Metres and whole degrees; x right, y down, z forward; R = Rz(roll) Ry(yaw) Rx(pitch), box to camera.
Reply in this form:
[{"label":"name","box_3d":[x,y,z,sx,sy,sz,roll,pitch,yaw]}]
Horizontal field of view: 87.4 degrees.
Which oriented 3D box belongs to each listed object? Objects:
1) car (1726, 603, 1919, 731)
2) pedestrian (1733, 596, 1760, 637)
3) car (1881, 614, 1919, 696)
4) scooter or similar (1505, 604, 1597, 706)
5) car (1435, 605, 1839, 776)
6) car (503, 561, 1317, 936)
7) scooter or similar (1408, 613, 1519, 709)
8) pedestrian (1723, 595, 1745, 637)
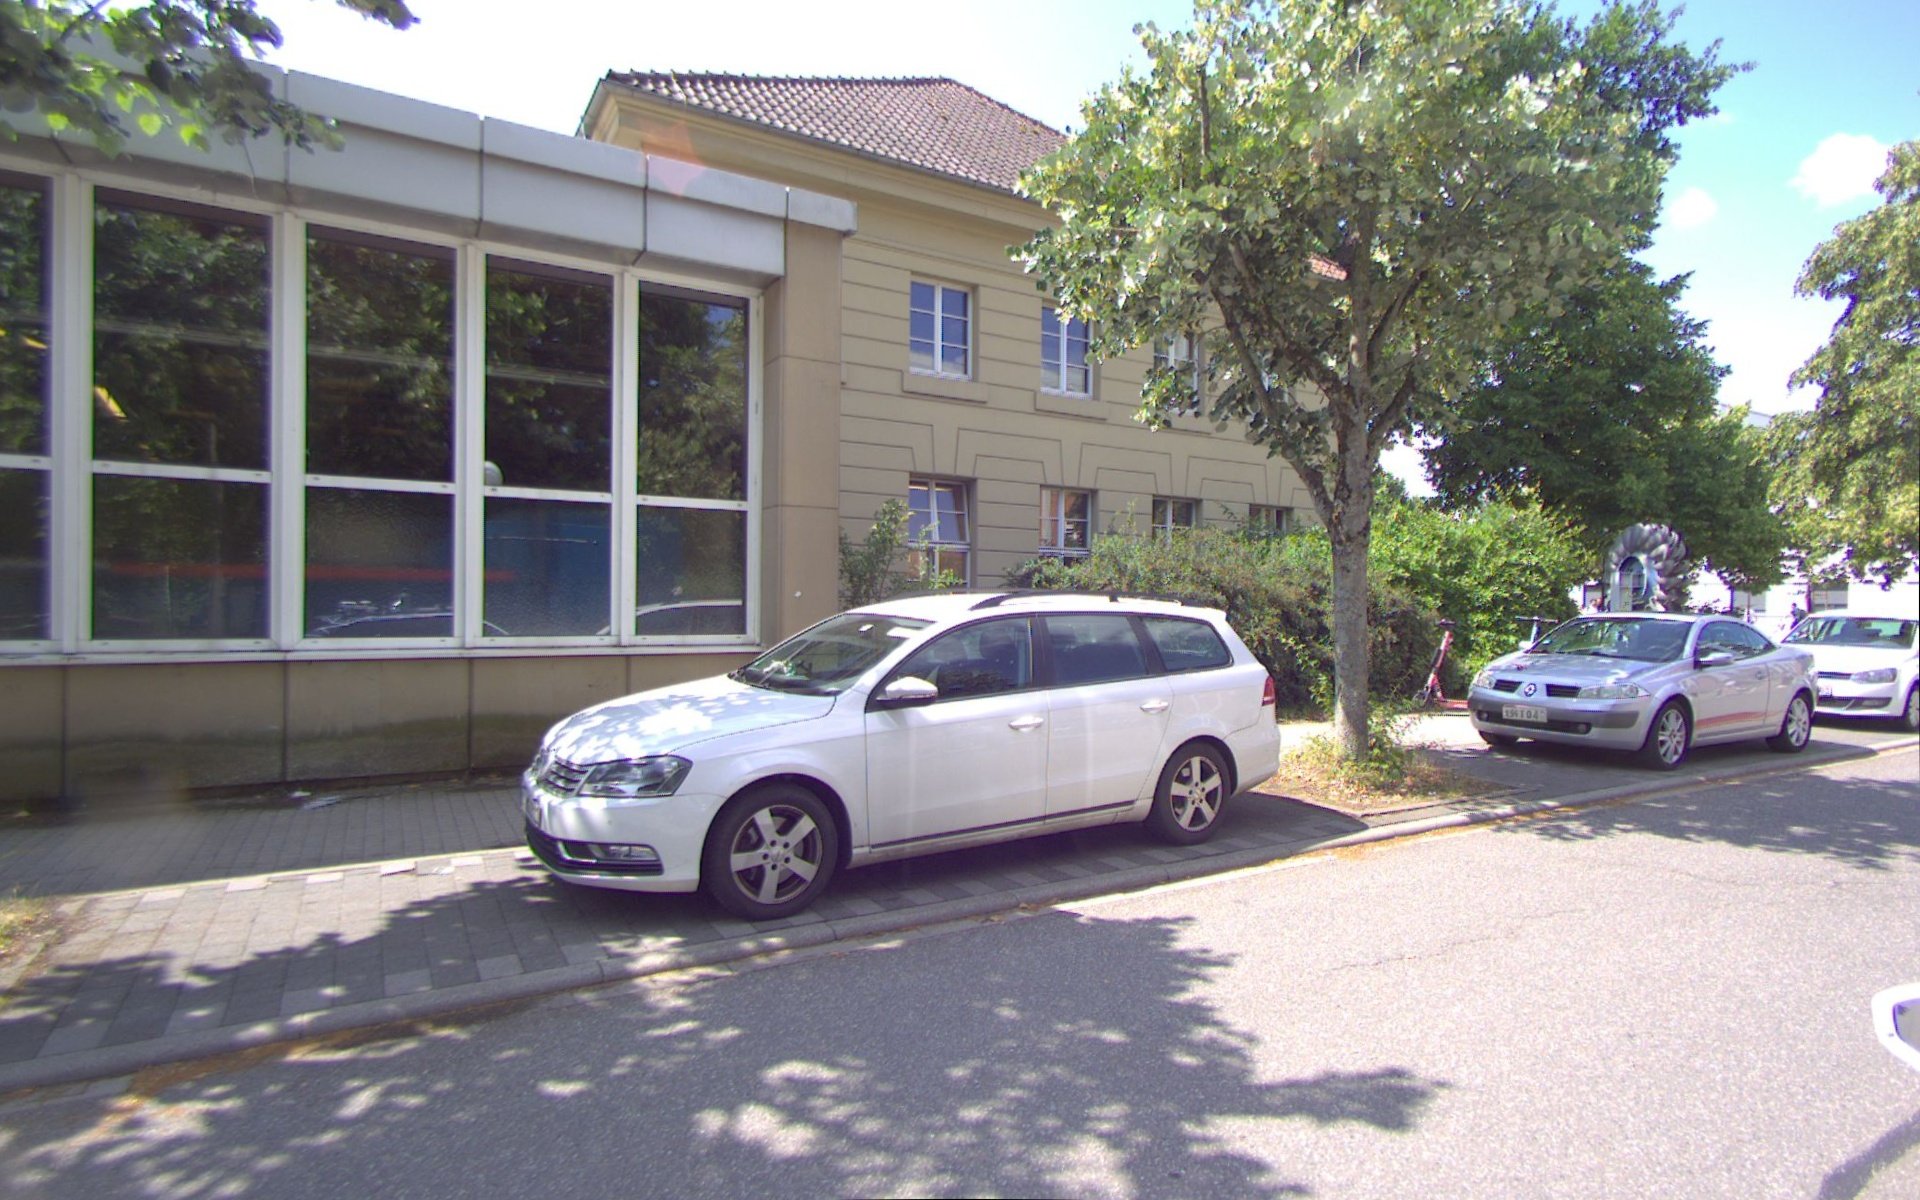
[{"label":"car","box_3d":[11.959,0.784,13.267,3.763,1.431,1.653,0,2,-31]},{"label":"pedestrian","box_3d":[34.461,0.733,44.011,0.629,1.772,0.690,1,1,-30]},{"label":"car","box_3d":[17.195,0.893,16.745,3.881,1.318,1.637,0,0,-30]},{"label":"scooter or similar","box_3d":[8.020,0.729,13.623,1.215,1.305,0.522,-1,-2,-31]},{"label":"car","box_3d":[6.915,0.777,10.190,4.115,1.362,1.717,0,2,-30]},{"label":"car","box_3d":[-0.098,0.587,5.920,4.534,1.476,1.715,1,2,-33]},{"label":"scooter or similar","box_3d":[6.414,0.769,12.808,1.205,1.187,0.470,1,0,-11]},{"label":"pedestrian","box_3d":[33.667,0.688,43.680,0.579,1.788,0.549,1,1,-30]}]
